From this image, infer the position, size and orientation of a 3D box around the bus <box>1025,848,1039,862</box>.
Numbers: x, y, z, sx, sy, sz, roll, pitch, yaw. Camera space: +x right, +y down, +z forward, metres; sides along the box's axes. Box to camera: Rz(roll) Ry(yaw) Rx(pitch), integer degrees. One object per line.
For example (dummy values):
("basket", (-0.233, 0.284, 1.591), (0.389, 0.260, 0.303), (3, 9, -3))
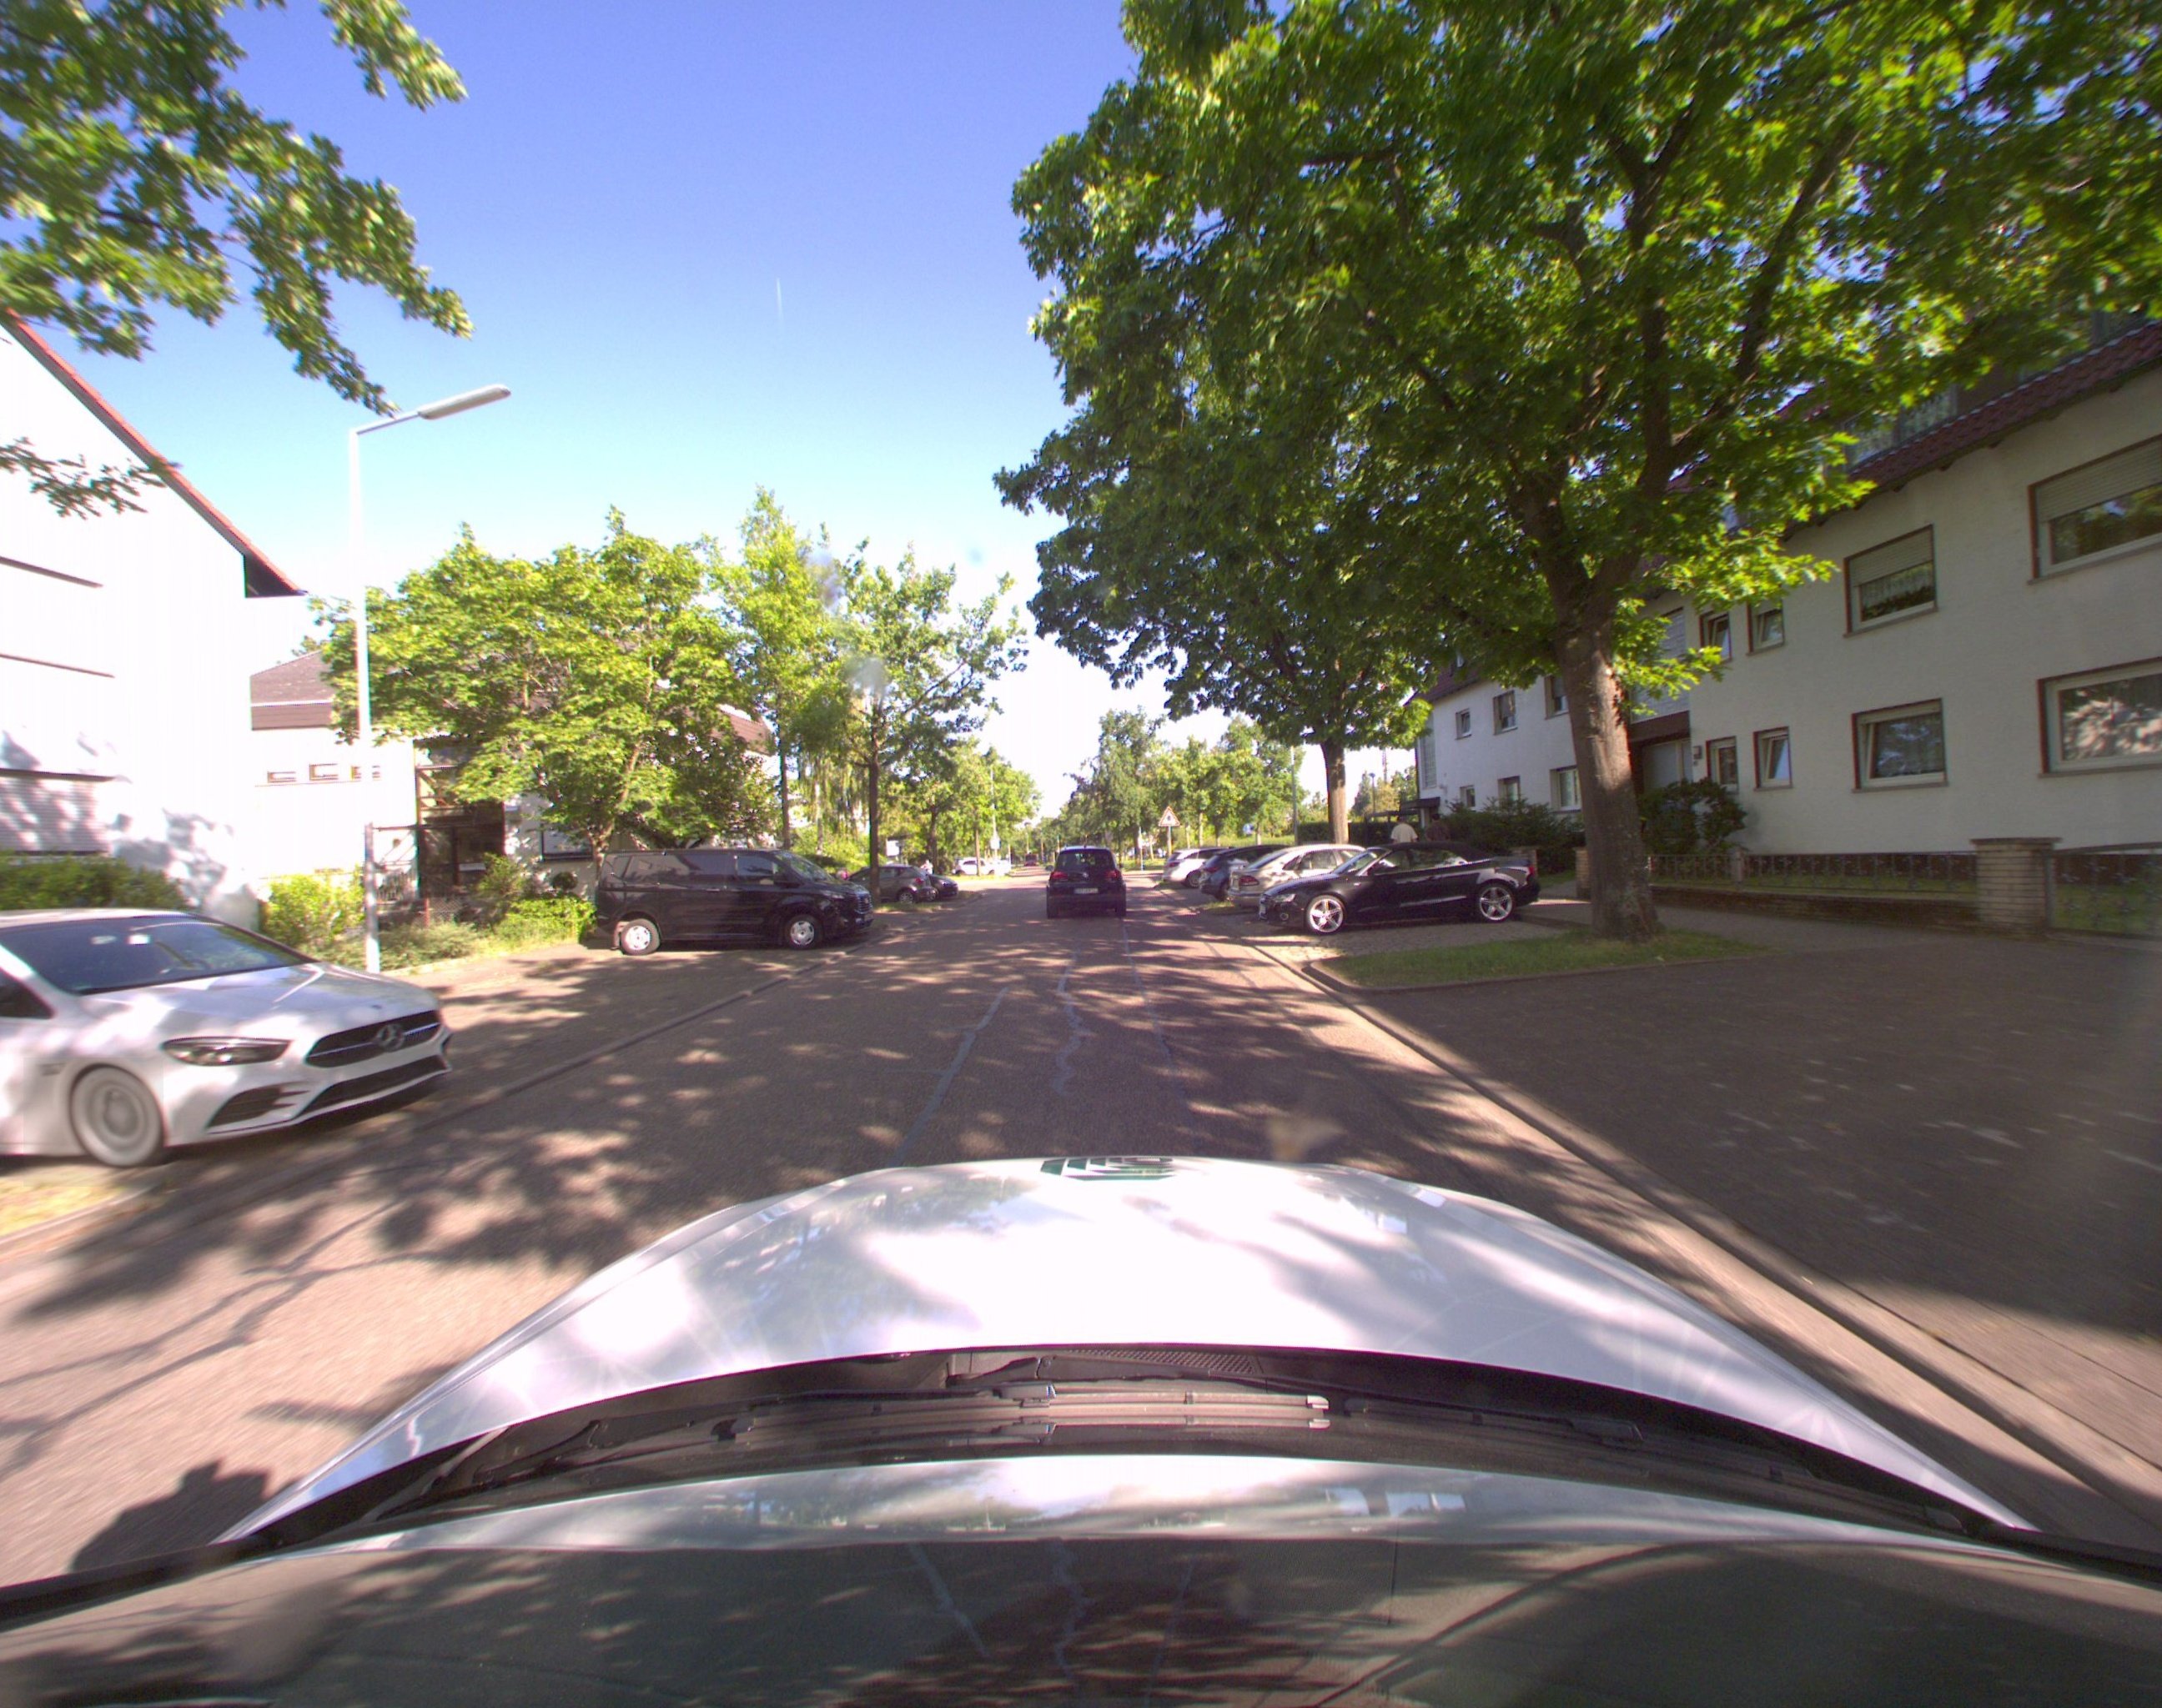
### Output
("bus", (-11.693, 0.291, 194.503), (2.921, 3.003, 5.732), (-3, -1, -2))

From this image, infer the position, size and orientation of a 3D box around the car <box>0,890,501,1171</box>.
("car", (-6.757, 1.090, 5.582), (4.259, 1.478, 1.769), (-2, 0, 2))

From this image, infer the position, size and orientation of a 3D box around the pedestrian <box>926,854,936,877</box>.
("pedestrian", (-10.525, 0.801, 57.043), (0.439, 1.556, 0.801), (-3, 0, 0))

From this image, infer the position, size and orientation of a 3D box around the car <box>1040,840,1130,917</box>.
("car", (0.202, 0.530, 19.994), (1.829, 1.636, 3.963), (-2, 0, 5))

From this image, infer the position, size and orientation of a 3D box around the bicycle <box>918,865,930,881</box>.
("bicycle", (-10.953, 1.298, 56.918), (0.445, 1.039, 1.892), (-3, 0, 0))

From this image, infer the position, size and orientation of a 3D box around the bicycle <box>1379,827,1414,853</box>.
("bicycle", (14.253, -0.633, 36.743), (1.679, 1.054, 0.527), (-4, 0, -31))

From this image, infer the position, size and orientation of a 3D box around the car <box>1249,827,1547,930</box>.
("car", (5.244, 0.400, 13.922), (4.330, 1.363, 1.874), (-4, 0, 1))

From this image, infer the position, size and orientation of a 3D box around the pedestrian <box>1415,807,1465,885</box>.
("pedestrian", (8.731, -0.197, 19.815), (0.831, 1.828, 0.711), (-3, -1, 3))

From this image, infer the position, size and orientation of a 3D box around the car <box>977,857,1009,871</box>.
("car", (-11.448, 1.282, 105.904), (4.007, 1.647, 1.809), (-3, 0, -3))

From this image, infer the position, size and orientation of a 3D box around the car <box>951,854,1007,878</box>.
("car", (-8.090, 0.965, 64.797), (4.232, 1.623, 1.895), (-3, 0, -3))

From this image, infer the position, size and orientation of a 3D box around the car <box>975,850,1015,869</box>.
("car", (-8.990, 0.561, 85.385), (4.007, 1.647, 1.809), (-4, 0, -3))

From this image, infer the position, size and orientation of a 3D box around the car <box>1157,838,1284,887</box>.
("car", (5.145, 0.296, 30.450), (4.412, 1.491, 1.797), (-4, 0, 1))

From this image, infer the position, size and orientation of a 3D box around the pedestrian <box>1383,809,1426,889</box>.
("pedestrian", (7.869, -0.116, 19.849), (0.605, 1.873, 0.924), (-3, -1, 3))

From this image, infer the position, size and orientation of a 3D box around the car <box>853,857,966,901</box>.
("car", (-6.480, 0.934, 31.021), (3.843, 1.458, 1.714), (-2, 0, 2))

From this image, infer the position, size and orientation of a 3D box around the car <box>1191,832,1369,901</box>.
("car", (5.206, 0.317, 21.697), (4.260, 1.503, 1.797), (-4, 0, 1))

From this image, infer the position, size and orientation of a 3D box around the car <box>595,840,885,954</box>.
("car", (-6.548, 0.790, 16.059), (4.764, 1.916, 2.018), (-2, 0, -1))

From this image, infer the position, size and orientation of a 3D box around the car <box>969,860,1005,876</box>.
("car", (-10.978, 1.588, 95.592), (4.007, 1.647, 1.809), (-3, 0, -3))

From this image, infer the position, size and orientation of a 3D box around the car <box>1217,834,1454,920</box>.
("car", (5.094, 0.438, 16.733), (4.260, 1.414, 1.797), (-4, 0, 1))

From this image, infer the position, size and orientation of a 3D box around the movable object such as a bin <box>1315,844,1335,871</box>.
("movable object such as a bin", (9.703, 0.129, 32.421), (0.532, 1.045, 0.700), (-3, 0, 0))

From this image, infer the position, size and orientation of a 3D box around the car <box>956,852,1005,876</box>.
("car", (-8.619, 0.846, 70.206), (4.007, 1.839, 1.895), (-3, 0, -3))

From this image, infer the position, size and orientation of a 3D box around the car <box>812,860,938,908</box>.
("car", (-7.010, 1.005, 27.956), (3.807, 1.419, 1.772), (-2, 0, 0))

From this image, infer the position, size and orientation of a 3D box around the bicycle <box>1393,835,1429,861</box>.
("bicycle", (14.646, -0.267, 36.133), (1.679, 1.054, 0.527), (-4, 0, -31))
